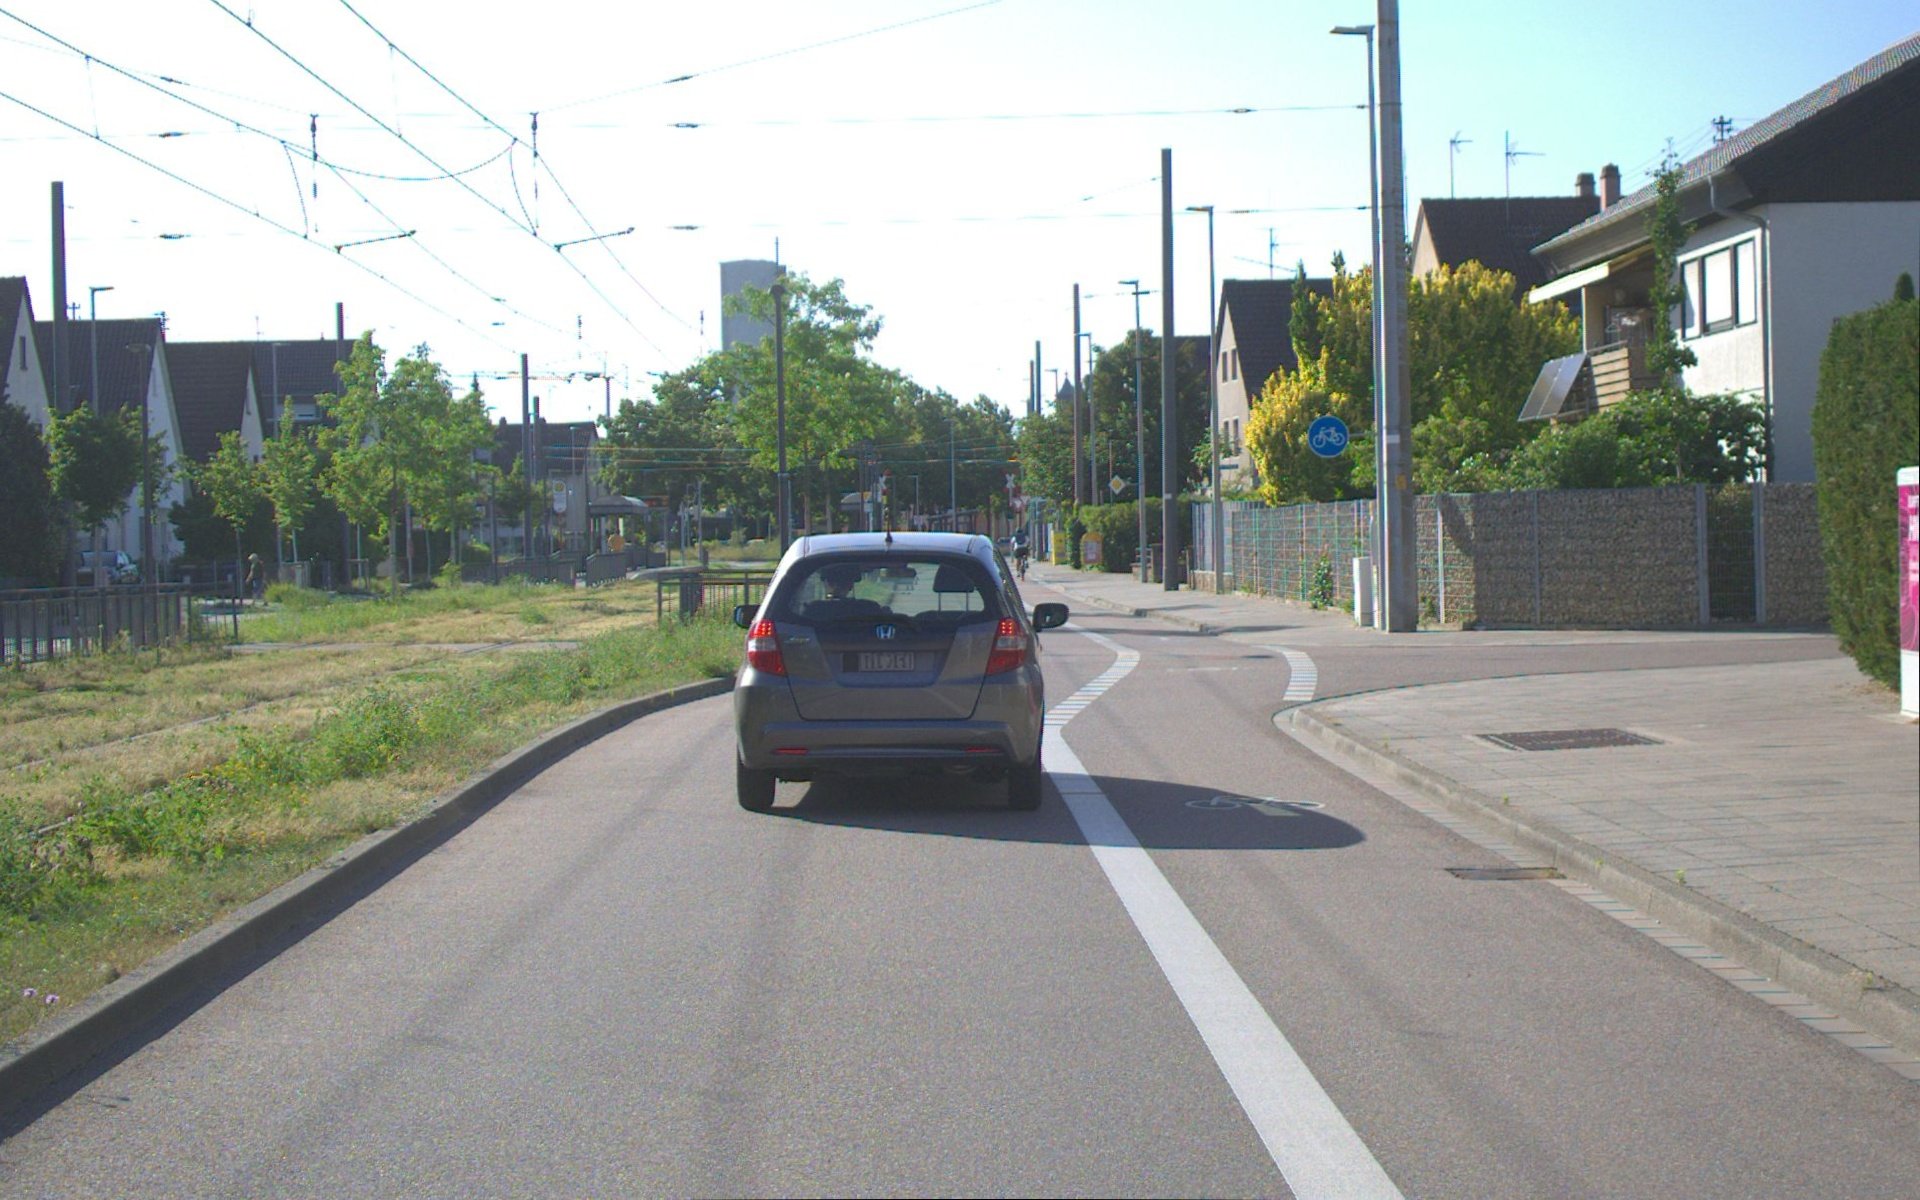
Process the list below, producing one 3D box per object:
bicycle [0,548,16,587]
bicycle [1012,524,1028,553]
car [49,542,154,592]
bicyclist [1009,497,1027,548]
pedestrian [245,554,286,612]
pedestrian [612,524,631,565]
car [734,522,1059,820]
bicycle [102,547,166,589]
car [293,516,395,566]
[{"bbox_3d":[-23.595,-0.788,84.281,0.423,0.939,1.749,-1,1,-1],"label":"bicycle"},{"bbox_3d":[2.011,-2.060,115.092,0.475,0.958,1.657,0,1,0],"label":"bicycle"},{"bbox_3d":[-25.981,-1.013,104.194,1.934,1.445,5.163,-1,1,-1],"label":"car"},{"bbox_3d":[1.937,-2.597,114.872,0.598,1.695,0.683,0,0,0],"label":"bicyclist"},{"bbox_3d":[-20.197,-0.500,99.988,0.965,1.635,1.086,-1,1,-1],"label":"pedestrian"},{"bbox_3d":[-12.689,-2.098,128.996,0.675,1.530,0.749,-1,1,-5],"label":"pedestrian"},{"bbox_3d":[-0.402,0.338,19.718,1.670,1.530,3.487,1,1,-2],"label":"car"},{"bbox_3d":[-27.827,-1.072,115.852,1.988,1.361,0.705,-1,1,-7],"label":"bicycle"},{"bbox_3d":[-25.064,-2.390,139.949,3.986,1.963,1.933,0,0,-8],"label":"car"}]
